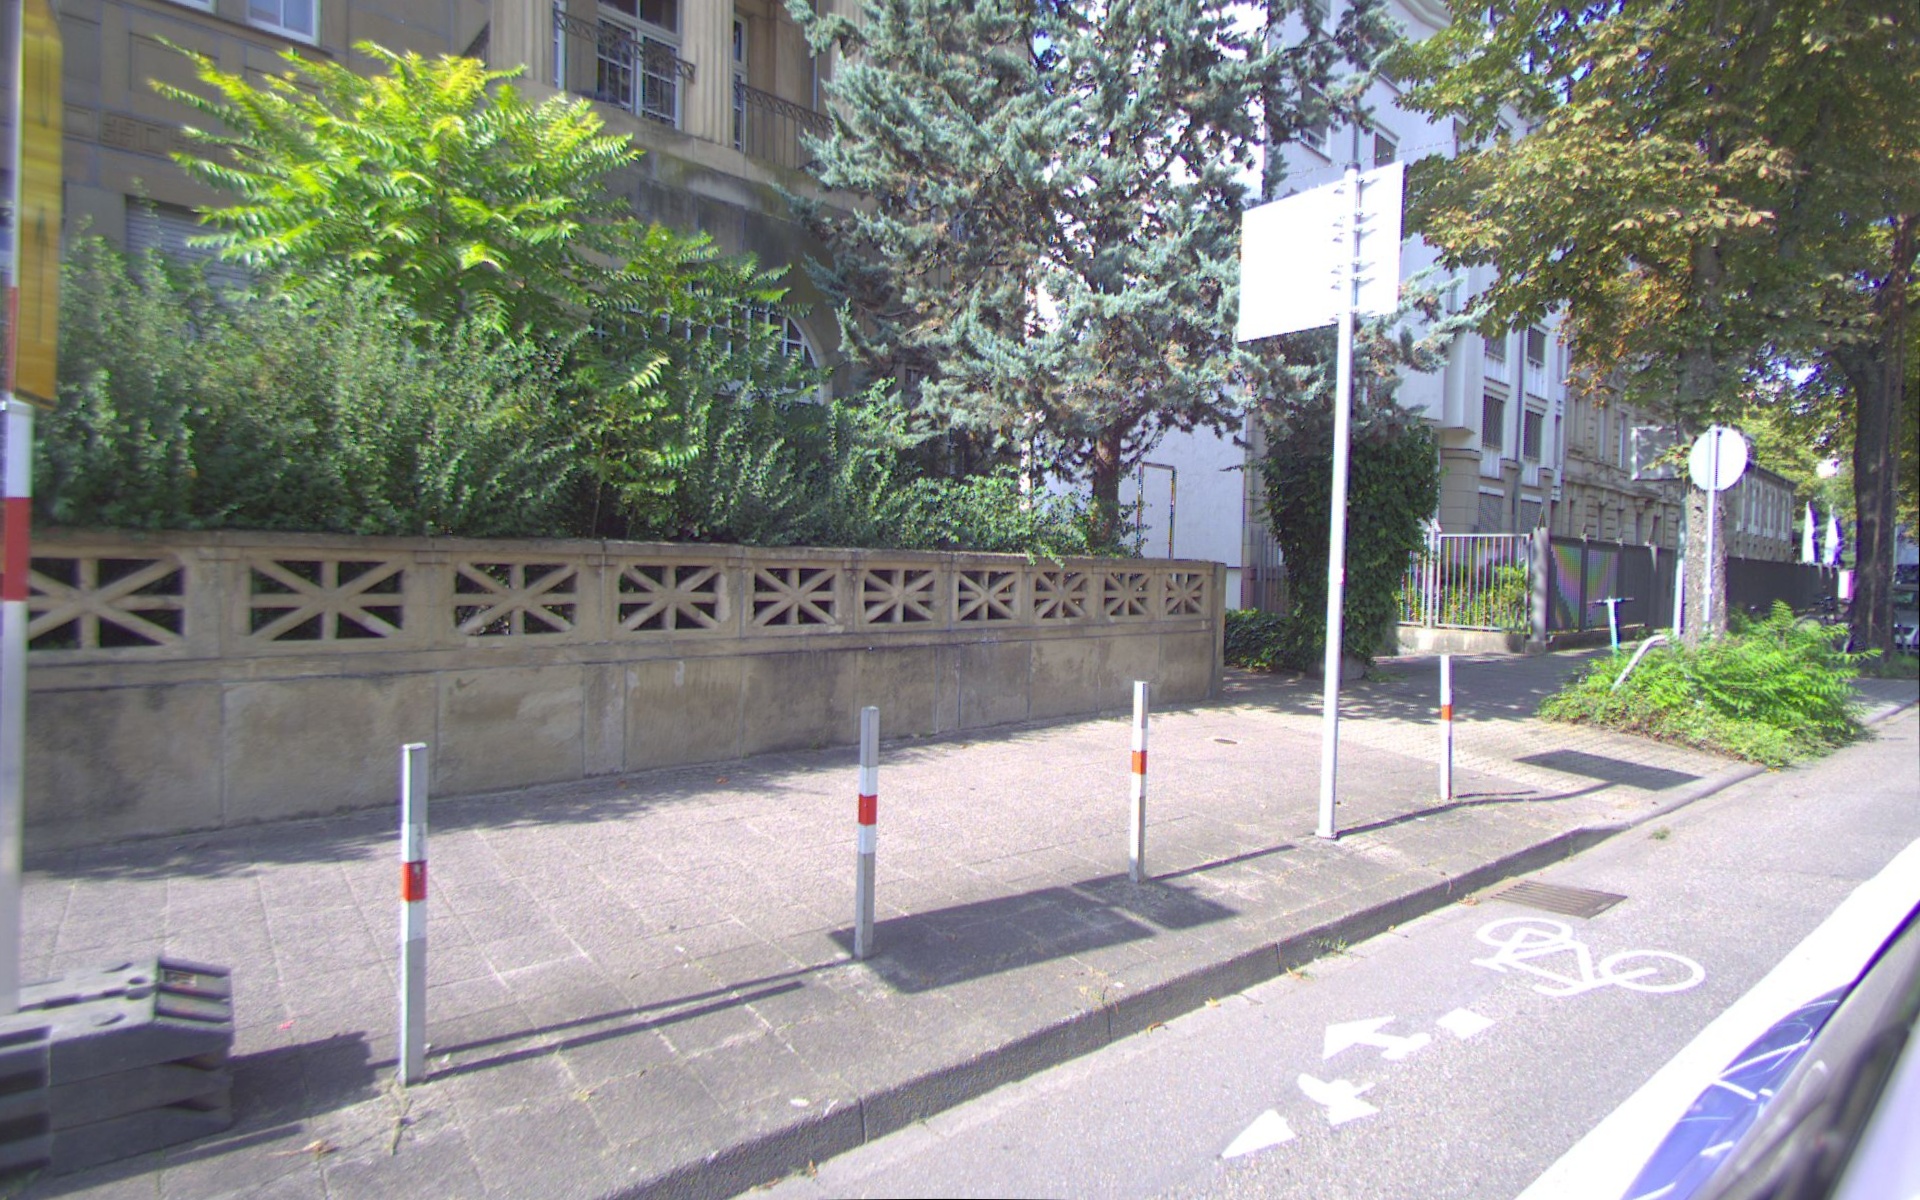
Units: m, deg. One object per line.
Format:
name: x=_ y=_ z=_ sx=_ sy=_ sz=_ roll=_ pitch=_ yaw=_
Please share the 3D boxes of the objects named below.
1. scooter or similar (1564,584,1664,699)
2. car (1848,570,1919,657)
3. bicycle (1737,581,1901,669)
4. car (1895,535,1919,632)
scooter or similar: x=7.470 y=0.449 z=11.553 sx=1.015 sy=1.211 sz=0.560 roll=-1 pitch=6 yaw=-37
car: x=19.256 y=0.236 z=20.304 sx=4.284 sy=1.541 sz=1.610 roll=-1 pitch=6 yaw=-43
bicycle: x=13.264 y=0.368 z=15.673 sx=1.812 sy=1.178 sz=0.504 roll=3 pitch=8 yaw=8
car: x=27.760 y=-0.435 z=28.104 sx=6.123 sy=2.529 sz=2.049 roll=-1 pitch=3 yaw=-43
